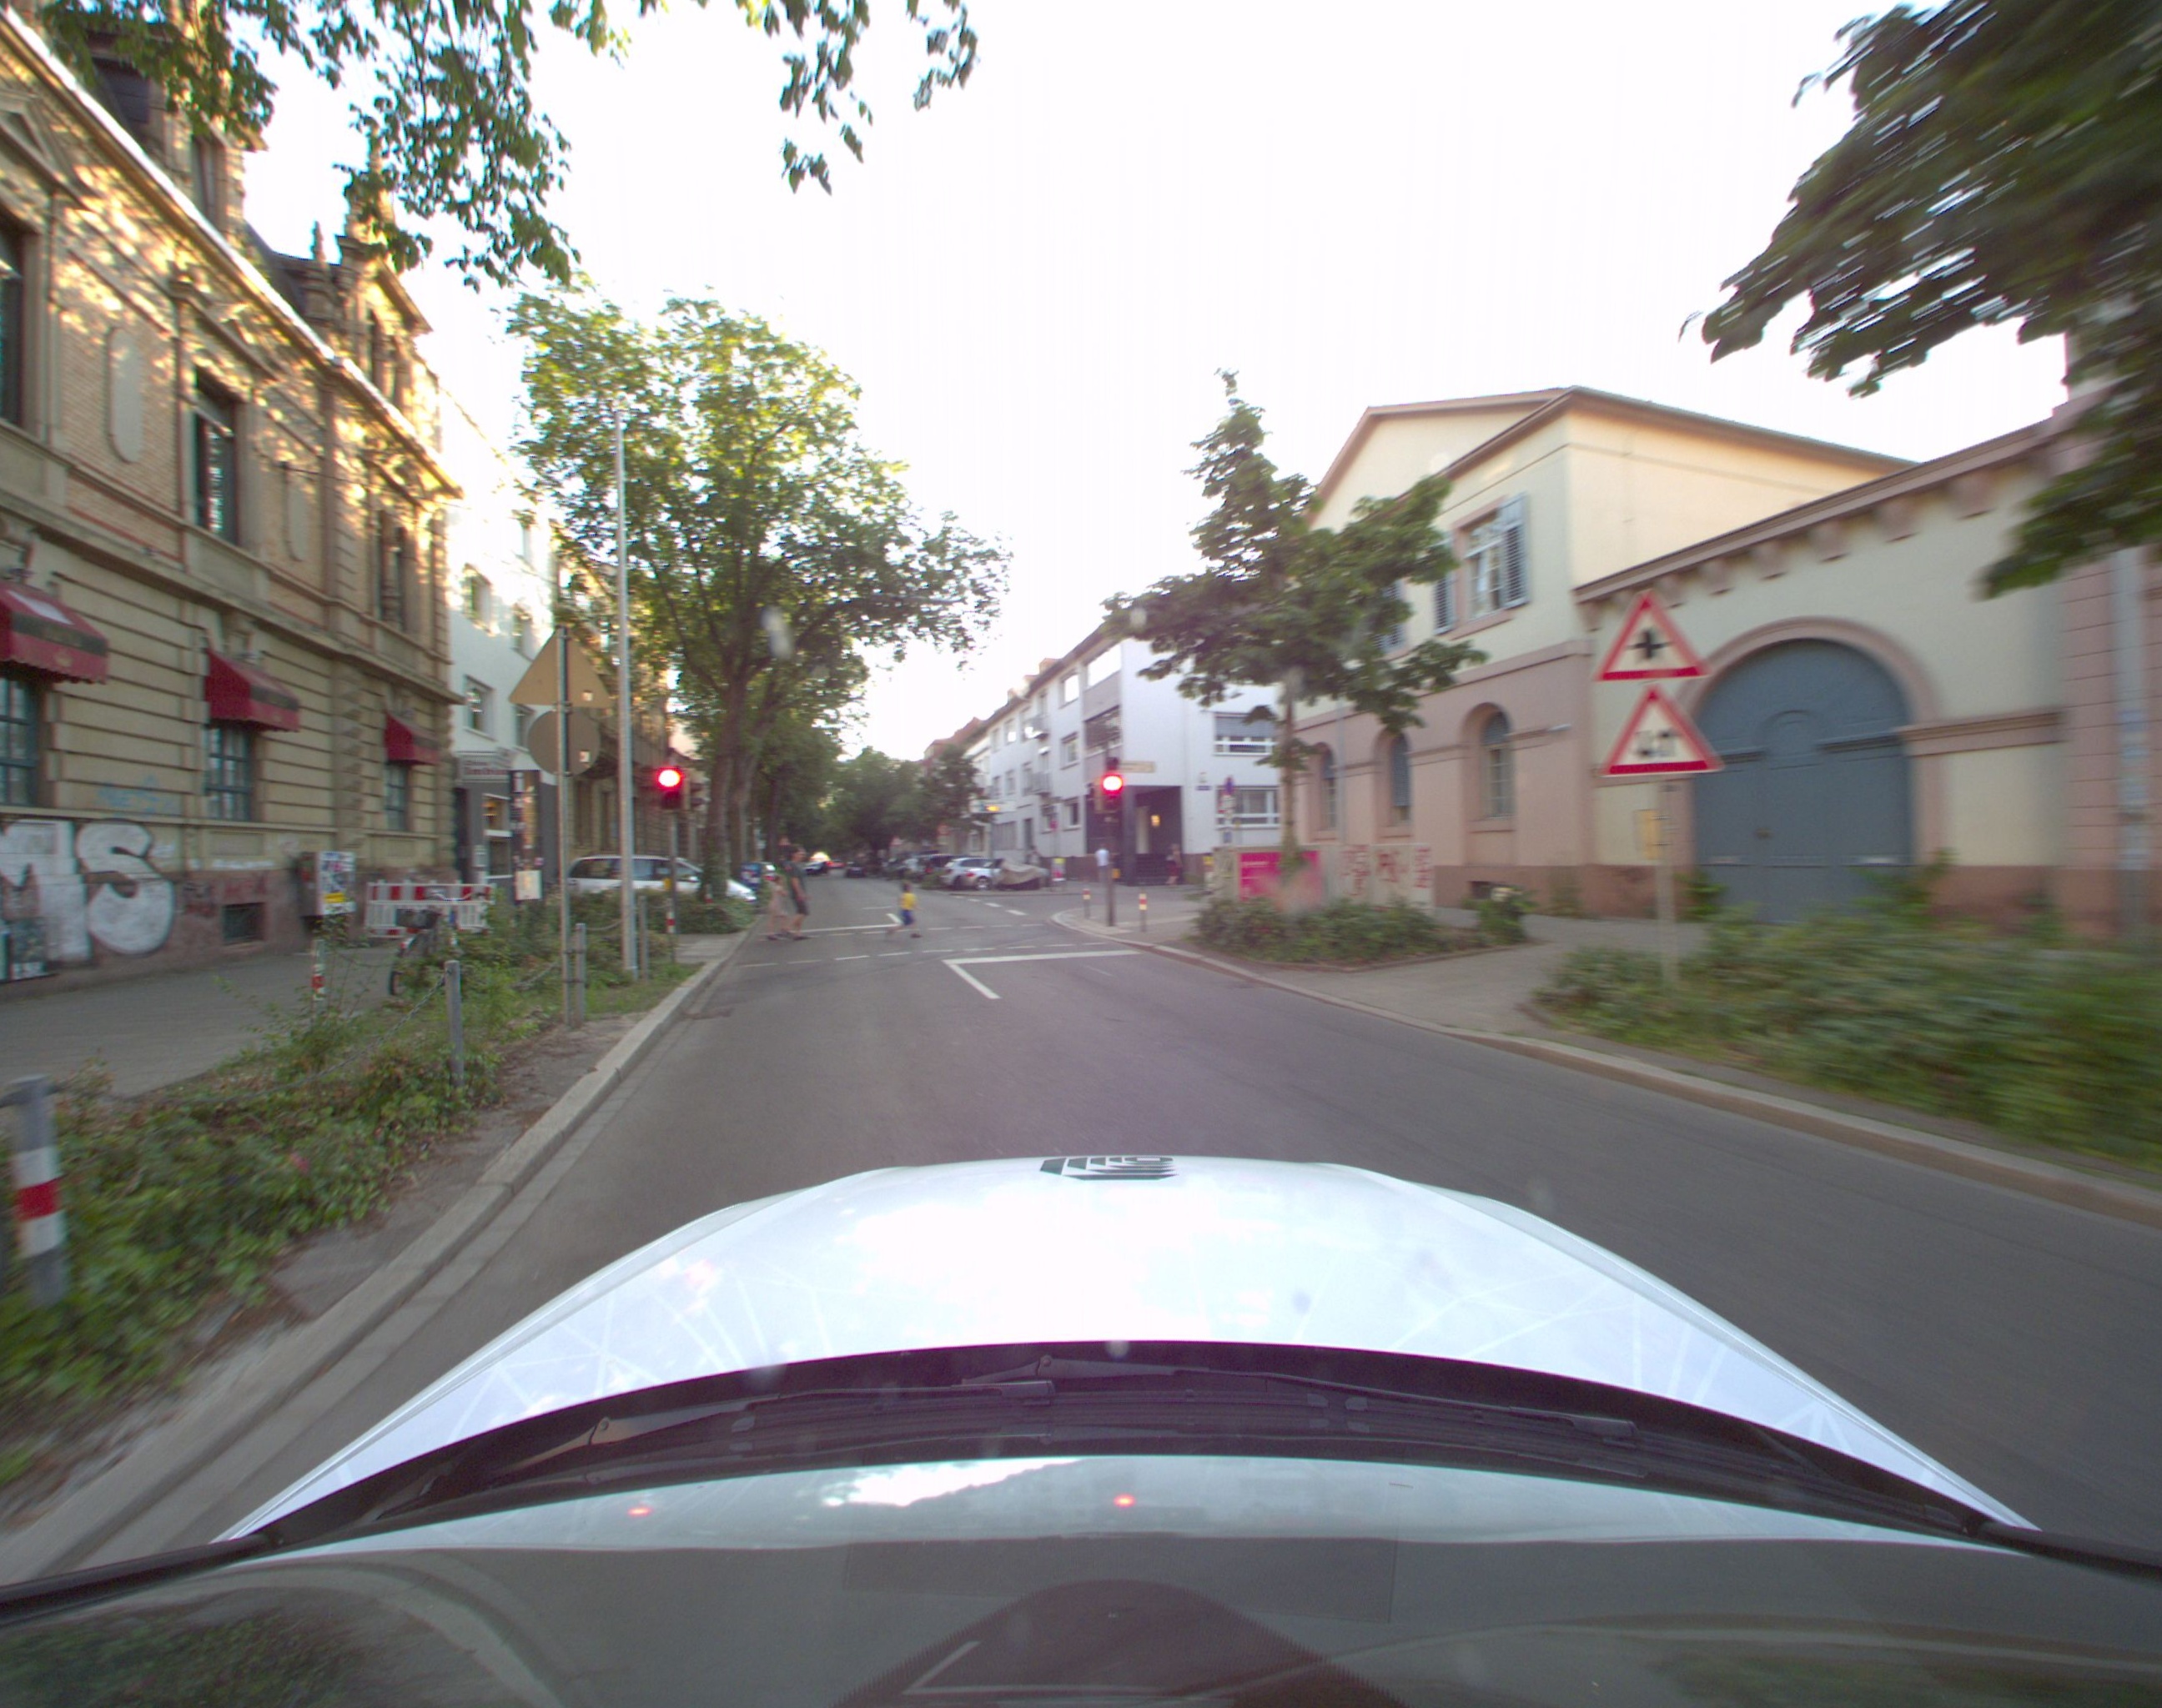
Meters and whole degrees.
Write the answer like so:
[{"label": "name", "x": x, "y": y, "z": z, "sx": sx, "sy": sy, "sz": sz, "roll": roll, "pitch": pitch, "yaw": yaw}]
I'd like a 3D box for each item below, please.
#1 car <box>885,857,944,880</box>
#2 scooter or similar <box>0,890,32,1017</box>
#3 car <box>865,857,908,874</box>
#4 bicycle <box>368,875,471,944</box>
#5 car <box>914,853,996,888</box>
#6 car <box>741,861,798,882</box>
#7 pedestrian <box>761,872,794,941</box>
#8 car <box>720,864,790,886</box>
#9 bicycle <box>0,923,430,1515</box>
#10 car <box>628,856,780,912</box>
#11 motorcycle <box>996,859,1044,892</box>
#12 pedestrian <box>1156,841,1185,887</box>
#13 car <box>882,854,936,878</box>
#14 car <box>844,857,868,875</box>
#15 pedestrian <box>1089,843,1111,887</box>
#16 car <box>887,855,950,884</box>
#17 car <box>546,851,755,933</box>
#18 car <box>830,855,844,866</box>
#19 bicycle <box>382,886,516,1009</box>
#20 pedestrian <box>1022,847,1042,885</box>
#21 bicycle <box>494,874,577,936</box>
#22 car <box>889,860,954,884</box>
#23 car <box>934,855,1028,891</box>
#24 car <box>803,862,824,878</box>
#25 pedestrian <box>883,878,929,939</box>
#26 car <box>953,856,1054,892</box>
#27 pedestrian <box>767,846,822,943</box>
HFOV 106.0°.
[{"label": "car", "x": -12.025, "y": 1.020, "z": 58.836, "sx": 4.026, "sy": 1.530, "sz": 1.696, "roll": -1, "pitch": 0, "yaw": -19}, {"label": "scooter or similar", "x": -10.229, "y": 0.927, "z": 7.149, "sx": 0.438, "sy": 1.168, "sz": 1.284, "roll": 0, "pitch": -1, "yaw": -6}, {"label": "car", "x": -19.082, "y": 1.095, "z": 79.859, "sx": 4.026, "sy": 1.602, "sz": 1.696, "roll": -1, "pitch": 0, "yaw": -19}, {"label": "bicycle", "x": -13.126, "y": 1.045, "z": 16.260, "sx": 0.638, "sy": 1.202, "sz": 2.549, "roll": -2, "pitch": 0, "yaw": -17}, {"label": "car", "x": -6.717, "y": 0.848, "z": 43.398, "sx": 4.026, "sy": 1.690, "sz": 1.696, "roll": -2, "pitch": 0, "yaw": -19}, {"label": "car", "x": -27.147, "y": 1.510, "z": 71.111, "sx": 4.560, "sy": 1.691, "sz": 1.822, "roll": -1, "pitch": 0, "yaw": -18}, {"label": "pedestrian", "x": -6.104, "y": 1.041, "z": 16.396, "sx": 0.540, "sy": 1.336, "sz": 0.504, "roll": -1, "pitch": 0, "yaw": -14}, {"label": "car", "x": -23.623, "y": 1.501, "z": 59.230, "sx": 4.560, "sy": 1.410, "sz": 1.822, "roll": -2, "pitch": 0, "yaw": -18}, {"label": "bicycle", "x": -2.979, "y": 0.931, "z": 1.954, "sx": 0.841, "sy": 1.267, "sz": 2.569, "roll": -2, "pitch": 0, "yaw": -3}, {"label": "car", "x": -13.006, "y": 0.995, "z": 28.412, "sx": 4.560, "sy": 1.689, "sz": 1.822, "roll": -2, "pitch": 0, "yaw": -18}, {"label": "motorcycle", "x": -2.400, "y": 0.837, "z": 32.056, "sx": 1.800, "sy": 1.199, "sz": 0.611, "roll": -2, "pitch": 0, "yaw": -10}, {"label": "pedestrian", "x": 3.490, "y": 0.395, "z": 31.852, "sx": 0.770, "sy": 1.752, "sz": 0.928, "roll": -1, "pitch": 0, "yaw": -18}, {"label": "car", "x": -13.918, "y": 0.922, "z": 65.881, "sx": 4.026, "sy": 1.830, "sz": 1.696, "roll": -1, "pitch": 0, "yaw": -19}, {"label": "car", "x": -20.445, "y": 1.077, "z": 73.919, "sx": 1.831, "sy": 1.561, "sz": 4.001, "roll": 0, "pitch": -1, "yaw": -19}, {"label": "pedestrian", "x": 0.780, "y": 0.450, "z": 33.039, "sx": 0.705, "sy": 1.752, "sz": 0.696, "roll": -1, "pitch": 0, "yaw": -15}, {"label": "car", "x": -11.204, "y": 1.022, "z": 56.157, "sx": 4.026, "sy": 1.815, "sz": 1.696, "roll": -2, "pitch": 0, "yaw": -19}, {"label": "car", "x": -10.973, "y": 0.906, "z": 21.184, "sx": 4.565, "sy": 1.835, "sz": 1.820, "roll": -2, "pitch": 0, "yaw": -22}, {"label": "car", "x": -37.524, "y": 1.025, "z": 125.383, "sx": 1.930, "sy": 1.660, "sz": 3.975, "roll": -2, "pitch": 0, "yaw": -19}, {"label": "bicycle", "x": -7.060, "y": 0.980, "z": 9.210, "sx": 0.512, "sy": 1.153, "sz": 2.088, "roll": 0, "pitch": 0, "yaw": -18}, {"label": "pedestrian", "x": -2.414, "y": 0.580, "z": 40.040, "sx": 0.769, "sy": 1.841, "sz": 0.938, "roll": -1, "pitch": 0, "yaw": -18}, {"label": "bicycle", "x": -11.538, "y": 1.032, "z": 17.336, "sx": 0.736, "sy": 1.186, "sz": 2.619, "roll": 0, "pitch": -1, "yaw": -17}, {"label": "car", "x": -10.547, "y": 1.176, "z": 53.957, "sx": 4.026, "sy": 1.409, "sz": 1.696, "roll": -2, "pitch": 0, "yaw": -19}, {"label": "car", "x": -4.617, "y": 0.834, "z": 37.425, "sx": 4.026, "sy": 1.442, "sz": 1.696, "roll": -2, "pitch": 0, "yaw": -19}, {"label": "car", "x": -27.141, "y": 1.637, "z": 82.608, "sx": 1.910, "sy": 1.578, "sz": 3.964, "roll": 0, "pitch": -1, "yaw": -20}, {"label": "pedestrian", "x": -3.387, "y": 1.041, "z": 15.744, "sx": 0.835, "sy": 1.121, "sz": 0.564, "roll": -1, "pitch": 0, "yaw": -14}, {"label": "car", "x": -3.353, "y": 0.834, "z": 35.051, "sx": 4.026, "sy": 1.342, "sz": 1.696, "roll": -2, "pitch": 0, "yaw": -18}, {"label": "pedestrian", "x": -5.601, "y": 0.776, "z": 15.963, "sx": 0.889, "sy": 1.815, "sz": 0.790, "roll": -2, "pitch": 0, "yaw": -14}]
